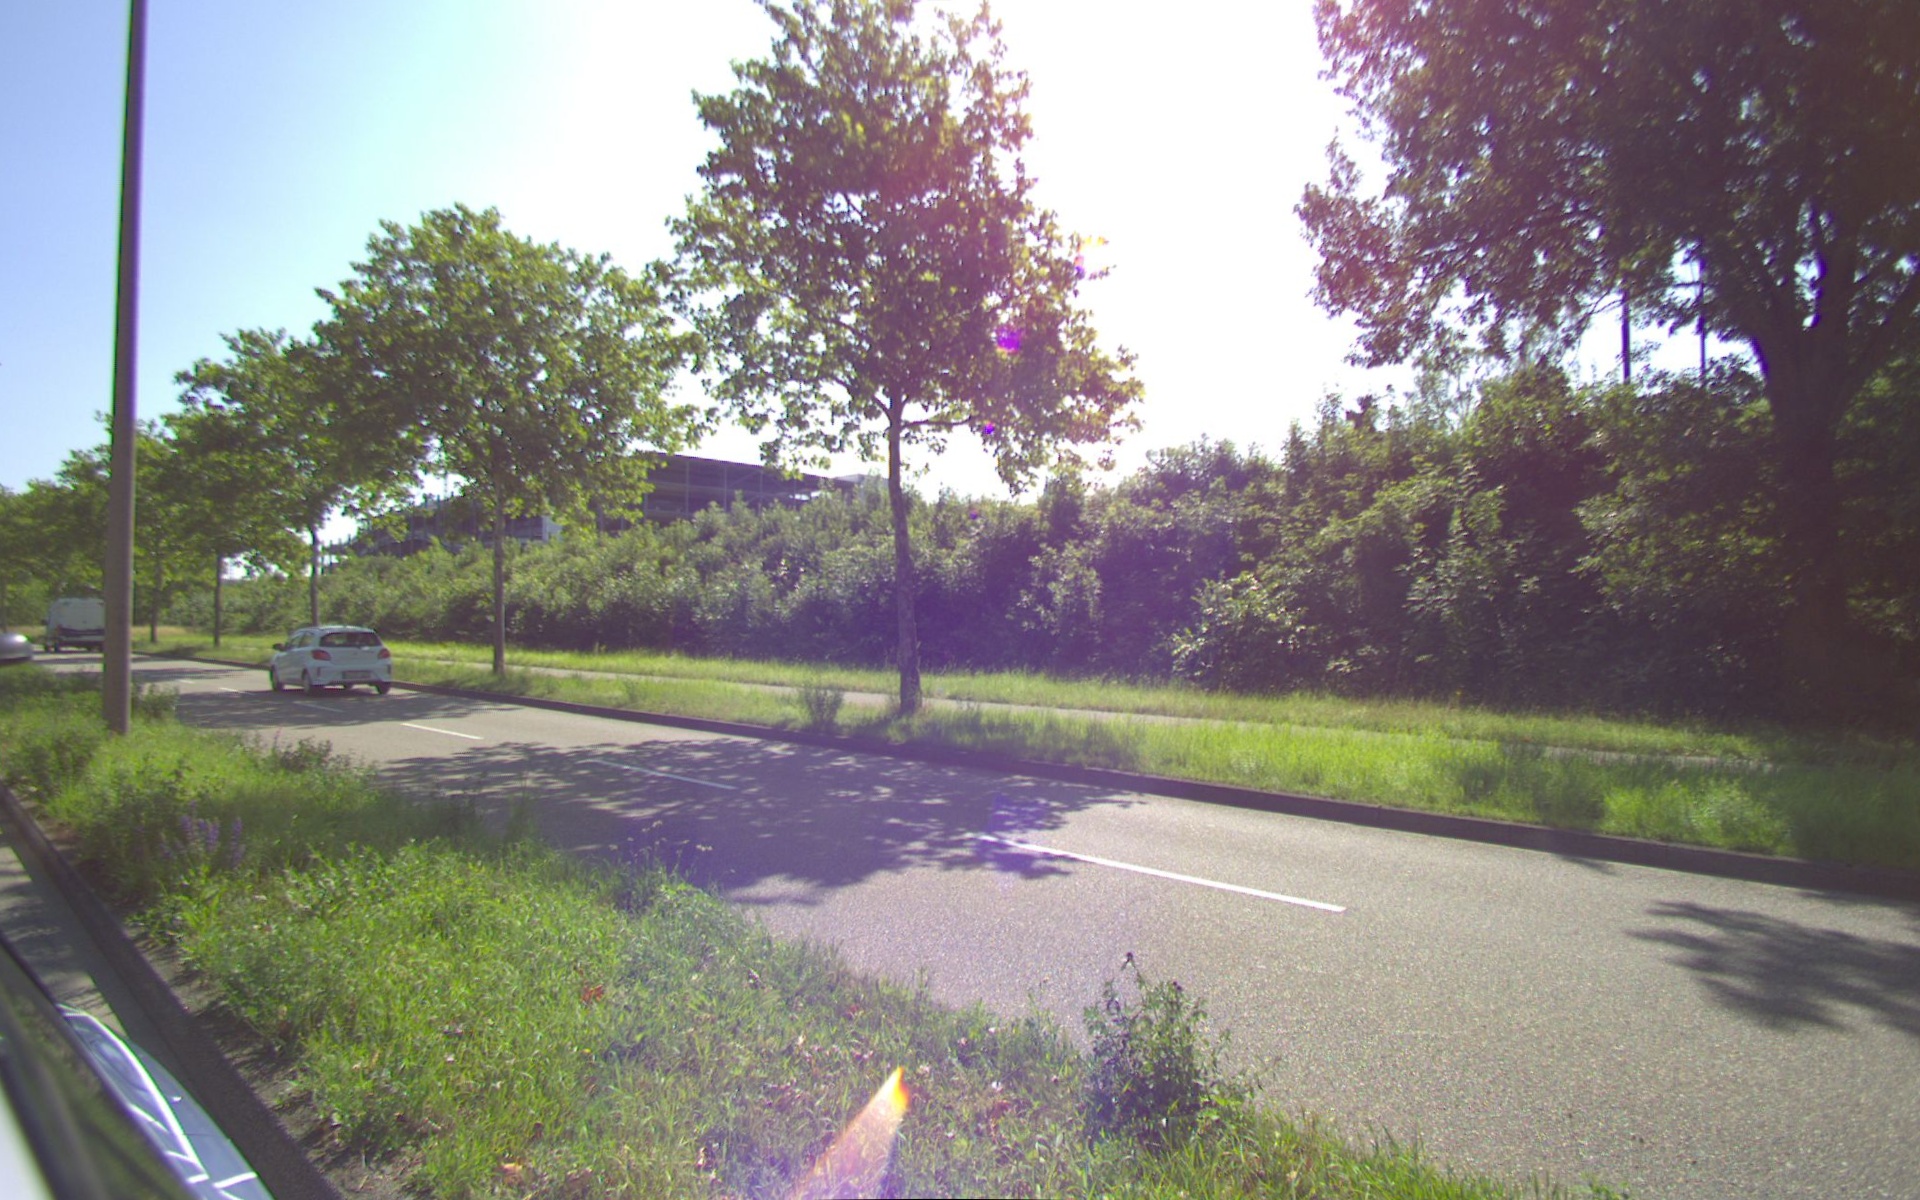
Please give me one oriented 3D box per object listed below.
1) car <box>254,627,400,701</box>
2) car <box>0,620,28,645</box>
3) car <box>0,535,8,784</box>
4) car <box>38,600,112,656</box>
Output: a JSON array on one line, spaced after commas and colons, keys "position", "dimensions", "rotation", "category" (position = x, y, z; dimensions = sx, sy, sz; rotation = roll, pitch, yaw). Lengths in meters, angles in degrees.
[{"position": [-14.244, 1.385, 22.715], "dimensions": [3.998, 1.519, 1.682], "rotation": [-2, -3, 41], "category": "car"}, {"position": [-74.636, 2.506, 78.798], "dimensions": [4.561, 1.912, 1.977], "rotation": [-1, -3, 34], "category": "car"}, {"position": [-7.032, 0.662, 5.765], "dimensions": [4.879, 1.915, 1.848], "rotation": [-1, -2, 41], "category": "car"}, {"position": [-44.630, 1.399, 50.969], "dimensions": [5.783, 2.683, 1.972], "rotation": [-1, -3, 41], "category": "car"}]
